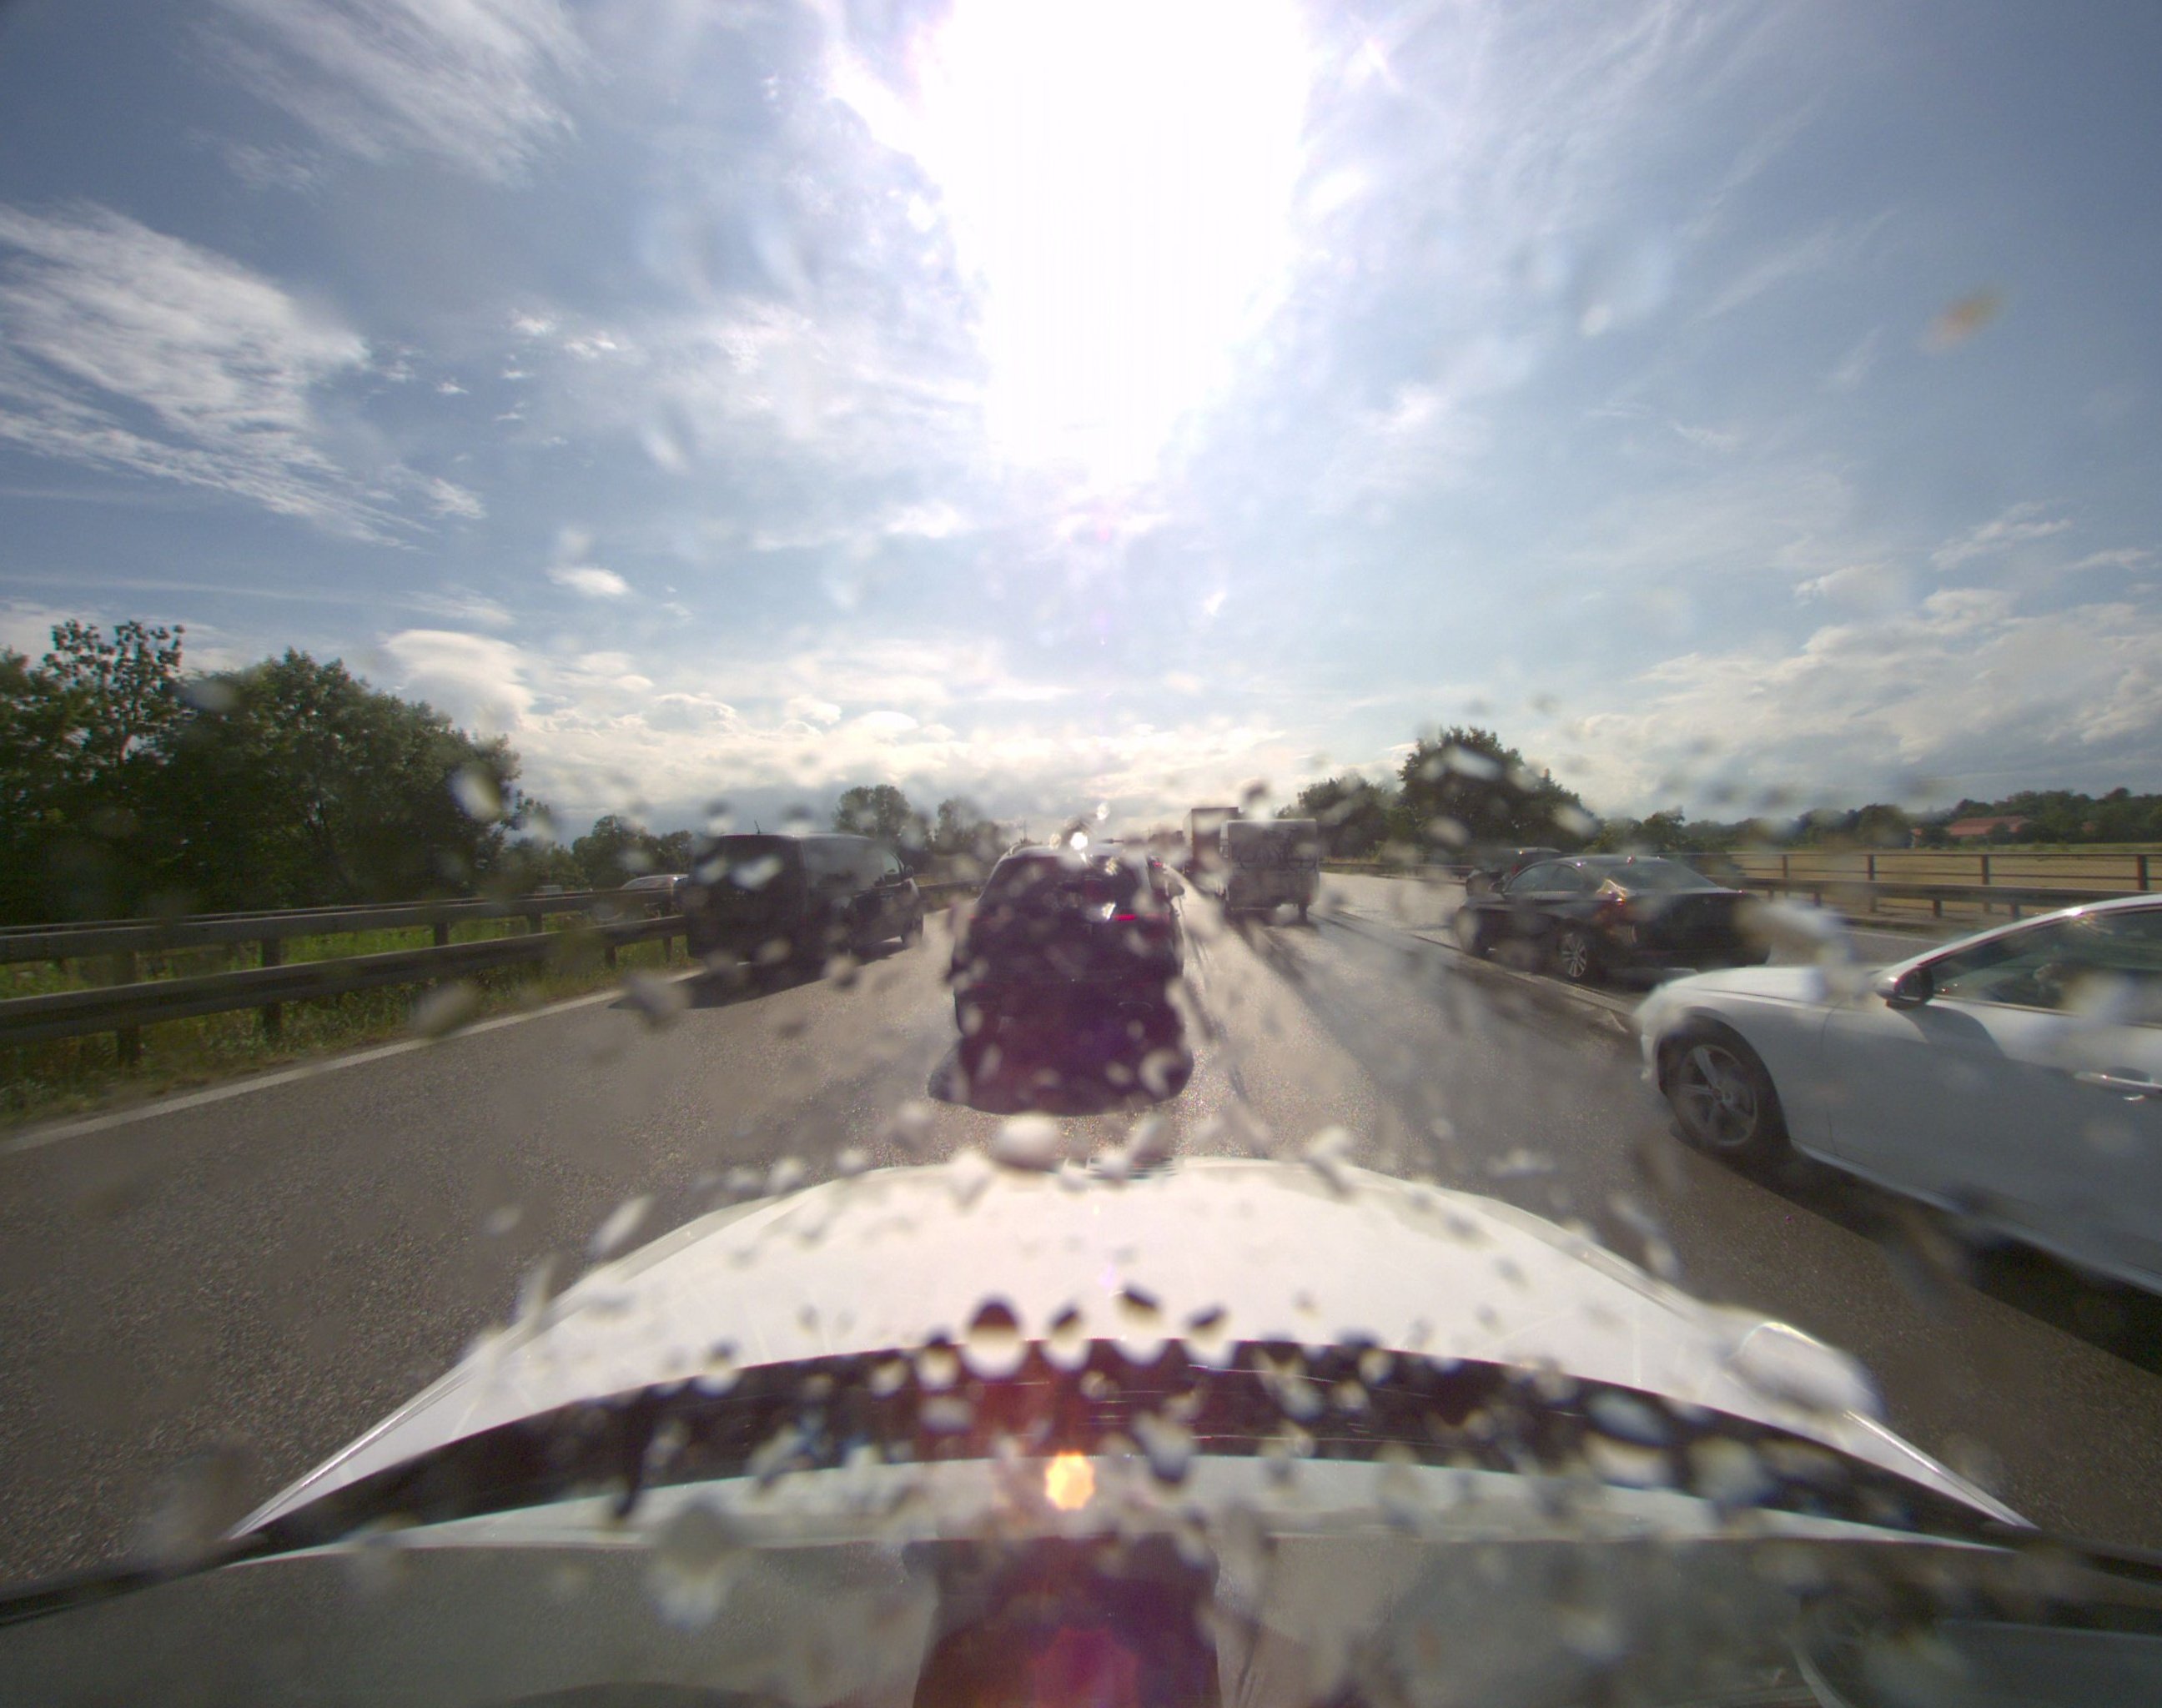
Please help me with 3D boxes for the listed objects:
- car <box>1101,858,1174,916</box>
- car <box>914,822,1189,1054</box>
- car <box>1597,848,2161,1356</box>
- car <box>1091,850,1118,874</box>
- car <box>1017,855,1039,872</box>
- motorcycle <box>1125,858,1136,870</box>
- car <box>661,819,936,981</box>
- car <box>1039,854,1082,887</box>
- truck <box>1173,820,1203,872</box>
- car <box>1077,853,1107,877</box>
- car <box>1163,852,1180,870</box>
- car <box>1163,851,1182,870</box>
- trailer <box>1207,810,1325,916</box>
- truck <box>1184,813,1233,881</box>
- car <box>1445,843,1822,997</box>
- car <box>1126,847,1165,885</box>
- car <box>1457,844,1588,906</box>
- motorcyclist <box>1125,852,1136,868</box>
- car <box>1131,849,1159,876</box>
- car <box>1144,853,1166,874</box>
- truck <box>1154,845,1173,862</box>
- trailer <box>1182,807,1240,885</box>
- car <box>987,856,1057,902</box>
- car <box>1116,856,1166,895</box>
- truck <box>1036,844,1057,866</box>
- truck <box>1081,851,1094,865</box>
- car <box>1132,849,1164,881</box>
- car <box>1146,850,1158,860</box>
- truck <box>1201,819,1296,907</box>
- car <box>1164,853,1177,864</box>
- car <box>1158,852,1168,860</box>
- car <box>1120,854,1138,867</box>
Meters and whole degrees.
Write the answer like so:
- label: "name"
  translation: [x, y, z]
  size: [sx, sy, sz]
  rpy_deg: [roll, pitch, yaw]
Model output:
- label: "car"
  translation: [1.603, 0.821, 22.025]
  size: [1.748, 1.387, 3.952]
  rpy_deg: [-1, 0, 7]
- label: "car"
  translation: [-0.016, 0.635, 8.129]
  size: [1.984, 1.661, 4.412]
  rpy_deg: [-1, -1, 5]
- label: "car"
  translation: [3.966, 0.693, 2.467]
  size: [1.822, 1.425, 4.507]
  rpy_deg: [-2, -1, -2]
- label: "car"
  translation: [2.107, 0.694, 71.594]
  size: [1.983, 2.013, 4.007]
  rpy_deg: [2, 0, 6]
- label: "car"
  translation: [-6.674, 1.143, 103.276]
  size: [1.984, 2.013, 5.566]
  rpy_deg: [-2, 0, 5]
- label: "motorcycle"
  translation: [5.311, 1.095, 87.026]
  size: [1.069, 1.271, 2.693]
  rpy_deg: [-1, 0, 4]
- label: "car"
  translation: [-4.060, 0.595, 12.944]
  size: [1.983, 2.013, 5.279]
  rpy_deg: [-1, 0, 6]
- label: "car"
  translation: [-1.074, 0.860, 44.740]
  size: [1.984, 1.720, 4.005]
  rpy_deg: [-1, 0, 4]
- label: "truck"
  translation: [10.335, -0.694, 79.483]
  size: [2.490, 4.830, 7.552]
  rpy_deg: [-1, -1, 5]
- label: "car"
  translation: [0.892, 0.859, 63.988]
  size: [1.983, 1.772, 4.007]
  rpy_deg: [0, 0, 6]
- label: "car"
  translation: [10.989, 0.802, 98.678]
  size: [1.983, 2.013, 4.007]
  rpy_deg: [2, 0, 6]
- label: "car"
  translation: [9.913, 0.736, 88.308]
  size: [1.983, 2.013, 4.007]
  rpy_deg: [0, 0, 6]
- label: "trailer"
  translation: [4.846, 0.240, 22.444]
  size: [2.362, 2.483, 6.533]
  rpy_deg: [-1, 0, 6]
- label: "truck"
  translation: [8.347, -0.421, 53.653]
  size: [2.979, 4.166, 5.251]
  rpy_deg: [-1, 0, 8]
- label: "car"
  translation: [6.453, 0.677, 10.234]
  size: [1.842, 1.464, 4.255]
  rpy_deg: [-2, -1, 1]
- label: "car"
  translation: [3.645, 0.648, 45.261]
  size: [1.983, 2.014, 4.007]
  rpy_deg: [-1, 0, 6]
- label: "car"
  translation: [12.359, 0.558, 23.118]
  size: [1.839, 1.568, 4.006]
  rpy_deg: [-1, 0, 5]
- label: "motorcyclist"
  translation: [5.317, 0.663, 87.214]
  size: [1.059, 1.718, 0.786]
  rpy_deg: [-1, -1, 4]
- label: "car"
  translation: [5.158, 0.681, 65.250]
  size: [1.983, 2.014, 4.007]
  rpy_deg: [-1, 0, 6]
- label: "car"
  translation: [7.247, 0.921, 79.476]
  size: [1.983, 2.013, 4.007]
  rpy_deg: [1, 0, 6]
- label: "truck"
  translation: [20.160, -0.167, 199.865]
  size: [3.828, 4.017, 11.225]
  rpy_deg: [-1, 0, 2]
- label: "trailer"
  translation: [7.601, -0.433, 48.201]
  size: [2.990, 4.166, 8.554]
  rpy_deg: [-1, 0, 8]
- label: "car"
  translation: [-2.076, 0.850, 29.777]
  size: [1.748, 1.516, 4.216]
  rpy_deg: [-1, 0, 7]
- label: "car"
  translation: [2.387, 0.780, 31.602]
  size: [1.797, 1.407, 4.006]
  rpy_deg: [-1, 0, 6]
- label: "truck"
  translation: [-6.382, 0.262, 151.502]
  size: [2.848, 3.821, 7.888]
  rpy_deg: [-1, -1, 5]
- label: "truck"
  translation: [2.086, 1.231, 258.114]
  size: [2.990, 4.103, 7.697]
  rpy_deg: [-3, -1, 5]
- label: "car"
  translation: [4.573, 0.709, 55.207]
  size: [1.983, 2.013, 4.007]
  rpy_deg: [2, 0, 6]
- label: "car"
  translation: [12.440, 0.180, 142.883]
  size: [1.868, 1.760, 4.003]
  rpy_deg: [-1, 0, 3]
- label: "truck"
  translation: [5.202, 0.269, 26.064]
  size: [2.362, 2.477, 5.765]
  rpy_deg: [-1, 0, 5]
- label: "car"
  translation: [15.023, 0.703, 137.168]
  size: [1.868, 1.760, 4.003]
  rpy_deg: [-1, 0, 3]
- label: "car"
  translation: [17.926, 0.492, 178.032]
  size: [1.868, 1.760, 4.003]
  rpy_deg: [-1, 0, 3]
- label: "car"
  translation: [6.114, 0.804, 103.466]
  size: [1.983, 1.616, 4.007]
  rpy_deg: [2, 0, 6]
